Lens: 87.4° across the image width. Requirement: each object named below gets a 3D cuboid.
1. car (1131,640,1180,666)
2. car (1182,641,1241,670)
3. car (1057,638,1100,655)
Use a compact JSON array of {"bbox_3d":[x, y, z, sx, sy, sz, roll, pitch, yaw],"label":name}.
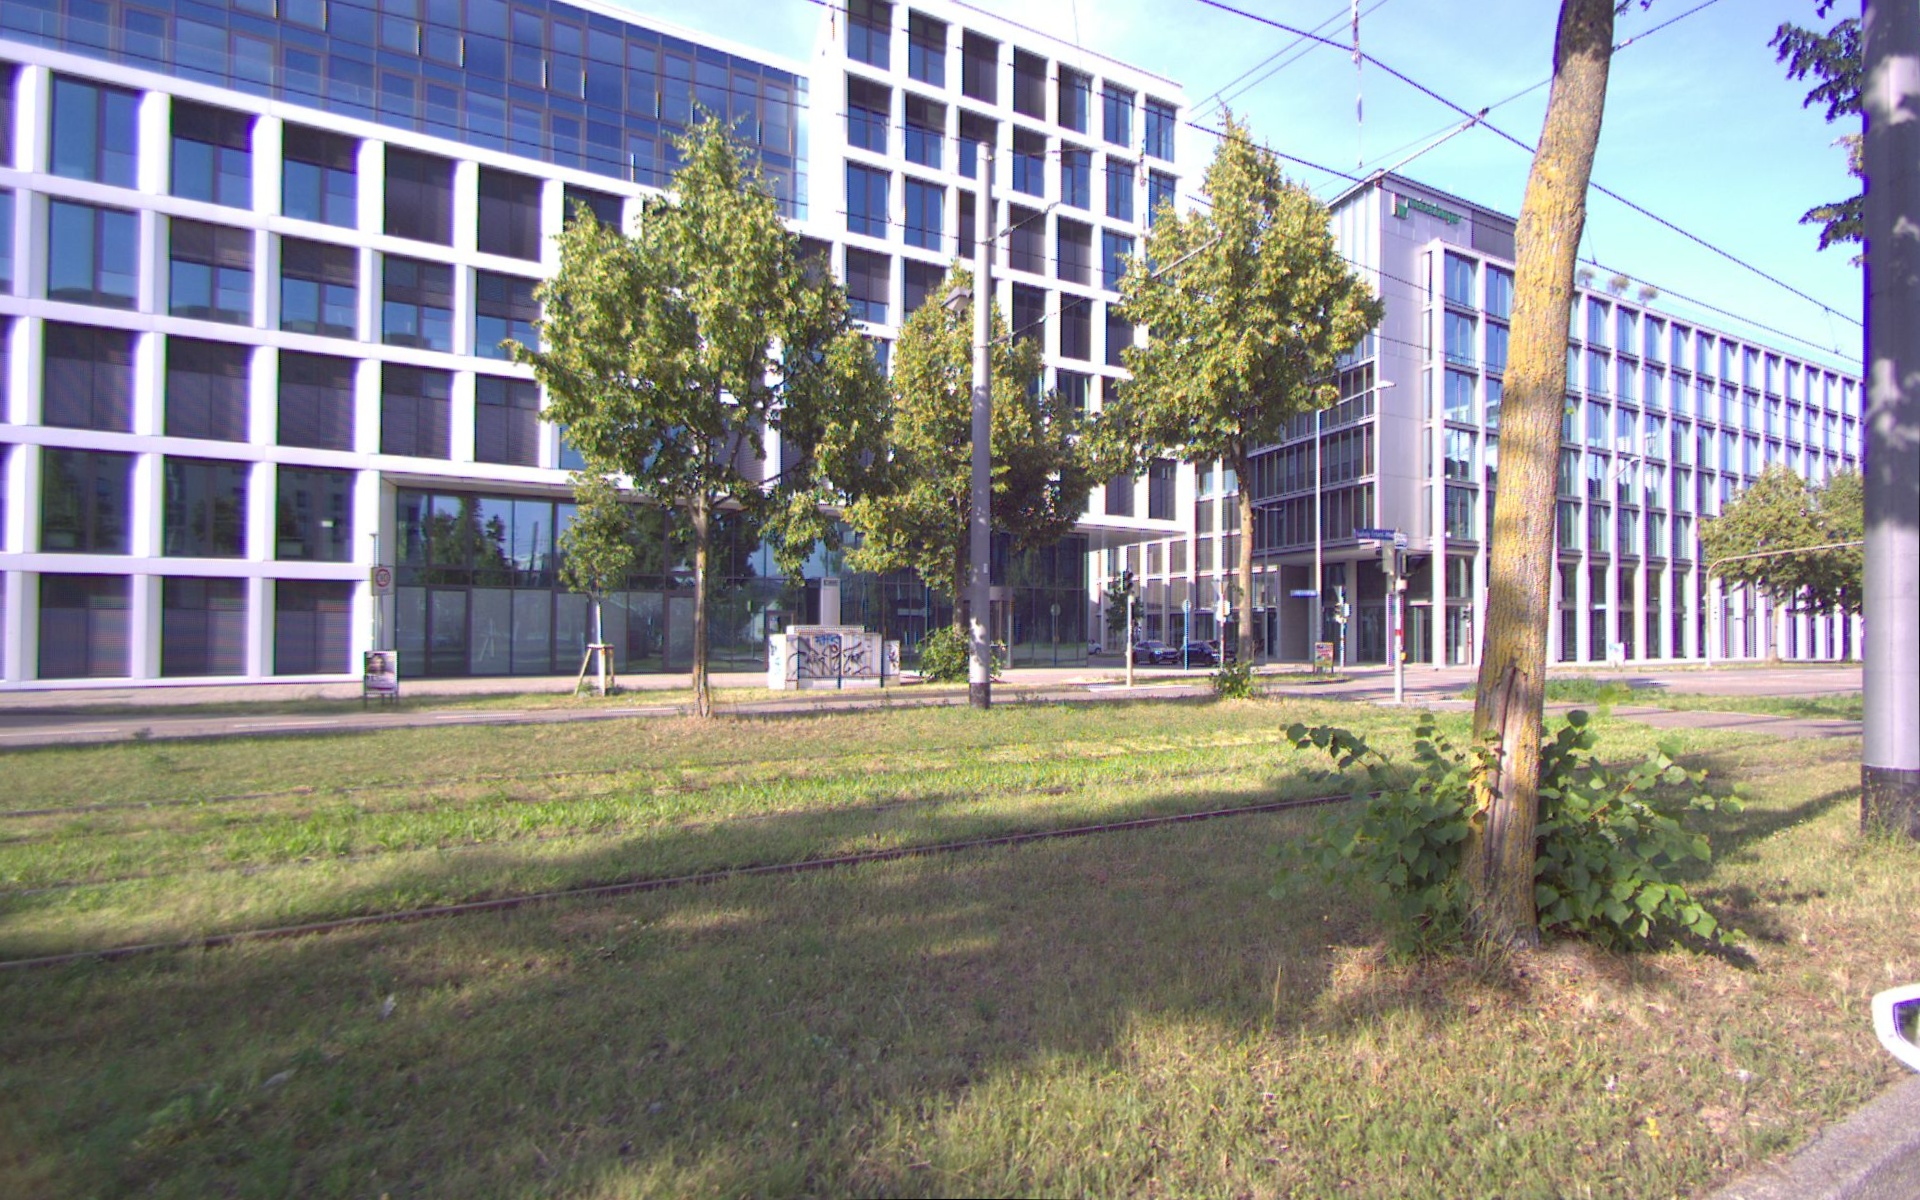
[{"bbox_3d":[12.333,3.344,63.469,1.549,1.443,3.667,2,0,-15],"label":"car"},{"bbox_3d":[14.153,3.113,56.690,1.551,1.443,3.497,2,0,-20],"label":"car"},{"bbox_3d":[10.865,4.289,92.023,3.537,1.417,1.524,2,0,-15],"label":"car"}]
